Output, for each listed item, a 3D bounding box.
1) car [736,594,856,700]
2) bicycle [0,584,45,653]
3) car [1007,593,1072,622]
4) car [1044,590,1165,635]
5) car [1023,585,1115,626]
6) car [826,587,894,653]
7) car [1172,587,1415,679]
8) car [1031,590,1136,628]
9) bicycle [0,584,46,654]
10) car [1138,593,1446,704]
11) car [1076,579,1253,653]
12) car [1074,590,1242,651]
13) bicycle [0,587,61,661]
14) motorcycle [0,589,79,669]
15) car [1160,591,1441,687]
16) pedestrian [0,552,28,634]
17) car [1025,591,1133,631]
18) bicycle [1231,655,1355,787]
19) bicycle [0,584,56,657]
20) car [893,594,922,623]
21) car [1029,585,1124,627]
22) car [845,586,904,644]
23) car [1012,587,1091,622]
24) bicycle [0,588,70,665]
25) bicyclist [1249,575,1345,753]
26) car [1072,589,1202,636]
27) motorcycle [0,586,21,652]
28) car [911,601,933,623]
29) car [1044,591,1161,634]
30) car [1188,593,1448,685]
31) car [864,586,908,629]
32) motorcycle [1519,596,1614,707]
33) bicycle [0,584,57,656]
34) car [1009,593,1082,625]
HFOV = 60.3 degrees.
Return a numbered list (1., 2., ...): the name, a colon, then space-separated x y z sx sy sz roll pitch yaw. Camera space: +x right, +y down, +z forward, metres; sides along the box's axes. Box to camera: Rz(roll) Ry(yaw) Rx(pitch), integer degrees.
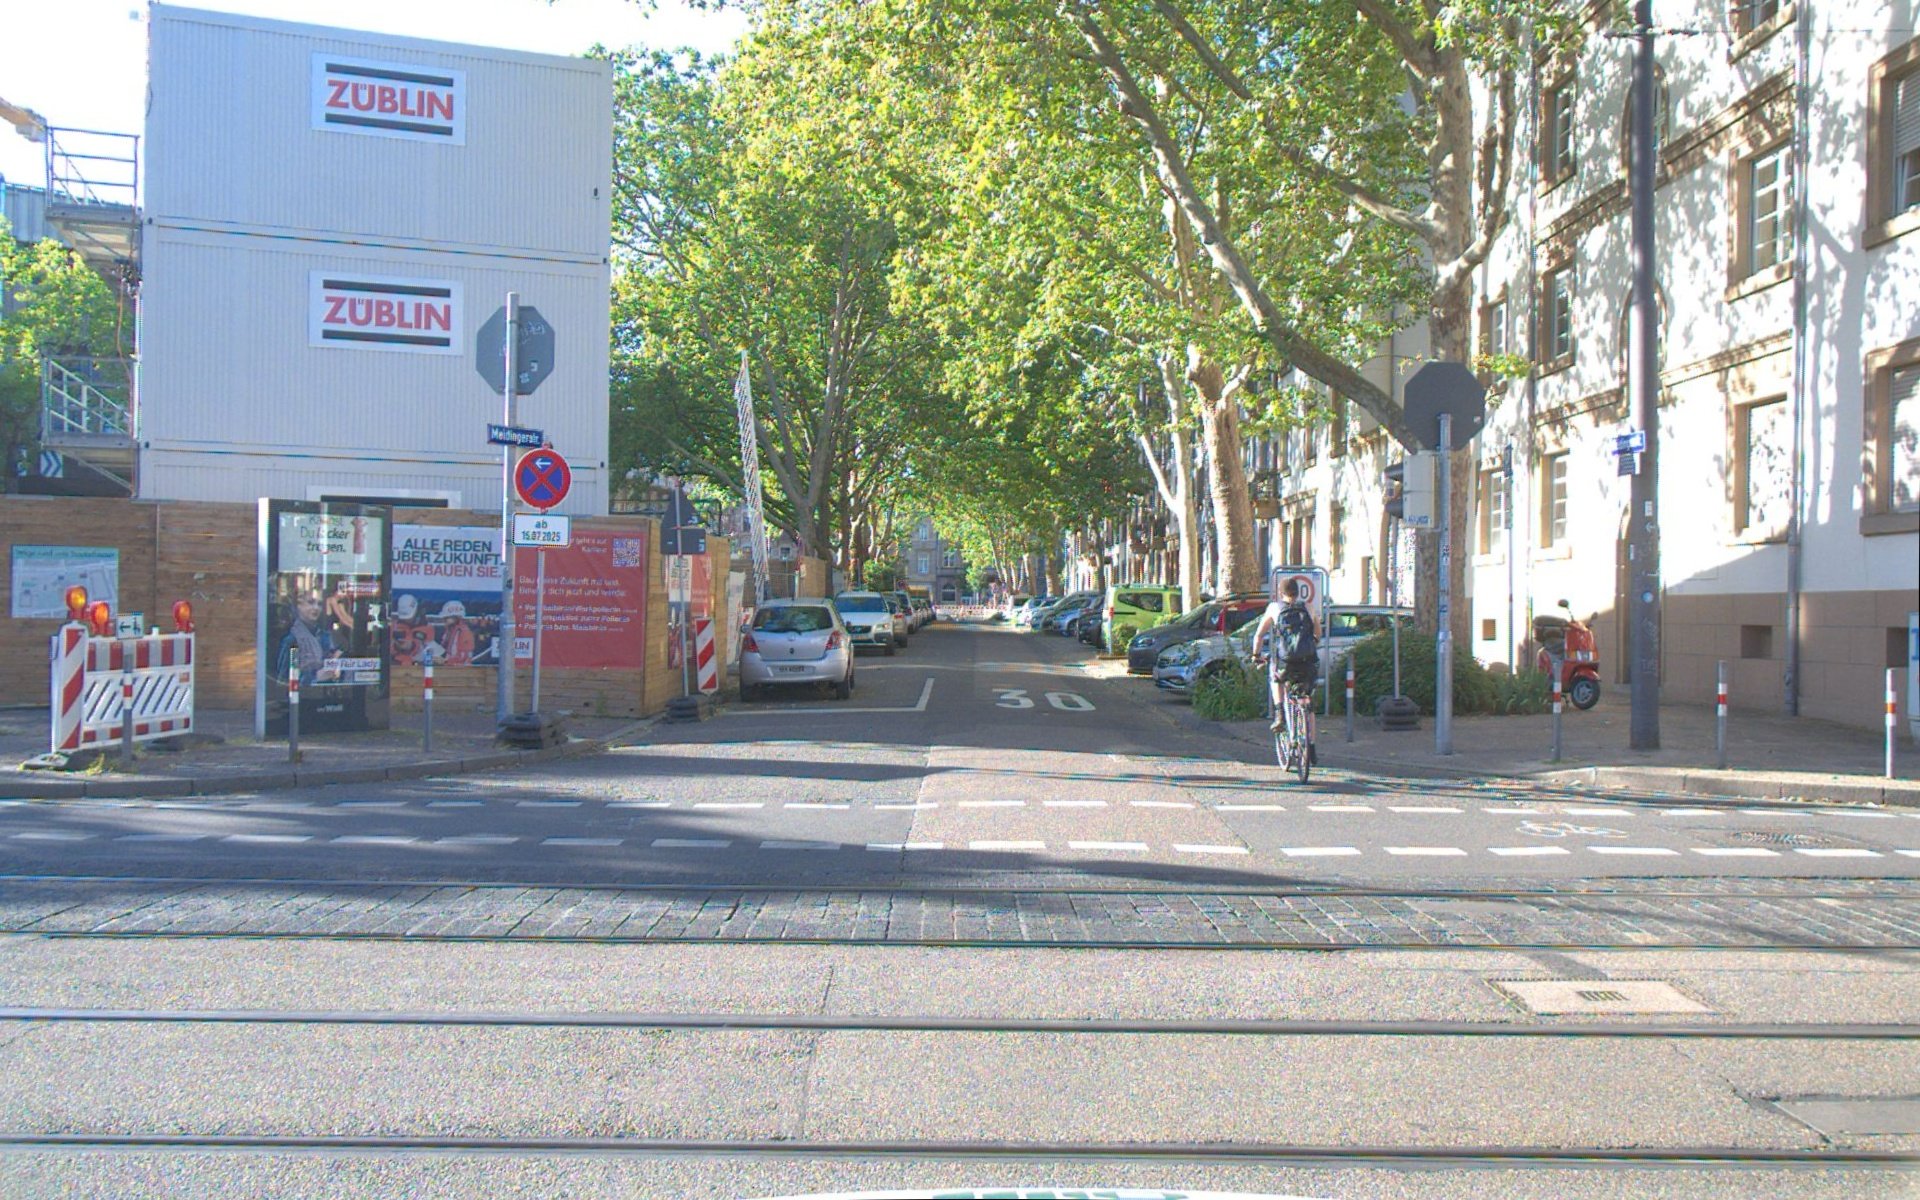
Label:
1. car: -2.539 0.681 26.348 1.610 1.520 3.998 -2 0 -2
2. bicycle: -18.371 0.343 31.040 2.029 1.279 0.536 0 1 -39
3. car: 5.459 0.531 114.061 4.371 1.931 1.728 1 0 -2
4. car: 5.394 0.452 61.988 4.371 1.598 1.728 1 0 -2
5. car: 5.349 0.252 81.638 4.371 1.931 1.728 1 0 -2
6. car: -2.532 0.485 42.488 1.632 1.590 3.998 1 0 -2
7. car: 6.471 0.621 32.379 4.371 1.700 1.728 1 0 -2
8. car: 5.311 0.377 71.550 4.371 1.598 1.728 1 0 -2
9. bicycle: -18.066 0.347 30.534 2.029 1.279 0.536 0 1 -39
10. car: 5.031 0.718 25.453 4.371 1.598 1.728 1 0 -2
11. car: 5.326 0.415 43.428 4.372 1.868 1.728 1 0 -2
12. car: 5.405 0.559 45.444 4.371 1.598 1.728 1 0 -2
13. bicycle: -16.784 0.417 28.709 2.029 1.279 0.465 0 1 -39
14. motorcycle: -15.656 0.469 26.992 2.189 1.279 0.536 0 1 -39
15. car: 5.679 0.641 27.915 4.371 1.527 1.728 1 0 -2
16. pedestrian: -24.180 -0.187 41.687 0.783 2.049 0.940 1 0 10
17. car: 4.948 0.468 69.227 4.371 1.598 1.728 1 0 -2
18. bicycle: 3.001 1.070 15.098 0.676 1.034 1.907 2 0 -1
19. bicycle: -17.089 0.363 29.112 2.029 1.279 0.465 0 1 -39
20. car: -3.042 0.469 95.807 1.632 1.590 4.217 1 0 -2
21. car: 5.539 0.266 78.872 4.371 1.931 1.728 1 0 -2
22. car: -2.437 0.396 48.024 1.632 1.590 4.517 1 0 -2
23. car: 5.220 0.266 94.454 4.371 1.931 1.728 1 0 -2
24. bicycle: -16.203 0.449 27.934 2.029 1.279 0.465 0 1 -39
25. bicyclist: 3.030 0.563 14.915 0.662 1.539 0.668 2 0 -2
26. car: 6.262 0.444 58.792 4.371 1.598 1.728 1 0 -2
27. motorcycle: -19.349 0.361 31.803 2.189 1.279 0.536 0 1 -39
28. car: -2.896 0.903 125.476 1.632 1.590 4.217 1 0 -2
29. car: 5.510 0.466 64.464 4.371 1.598 1.728 1 0 -2
30. car: 6.489 0.691 30.291 4.371 1.598 1.728 1 0 -2
31. car: -2.856 0.270 64.701 1.632 1.590 4.614 1 0 -2
32. motorcycle: 7.796 0.638 21.338 0.503 1.356 1.762 1 0 -2
33. bicycle: -17.354 0.360 29.594 2.029 1.279 0.536 0 1 -39
34. car: 5.227 0.542 101.883 4.371 1.931 1.728 1 0 -2
